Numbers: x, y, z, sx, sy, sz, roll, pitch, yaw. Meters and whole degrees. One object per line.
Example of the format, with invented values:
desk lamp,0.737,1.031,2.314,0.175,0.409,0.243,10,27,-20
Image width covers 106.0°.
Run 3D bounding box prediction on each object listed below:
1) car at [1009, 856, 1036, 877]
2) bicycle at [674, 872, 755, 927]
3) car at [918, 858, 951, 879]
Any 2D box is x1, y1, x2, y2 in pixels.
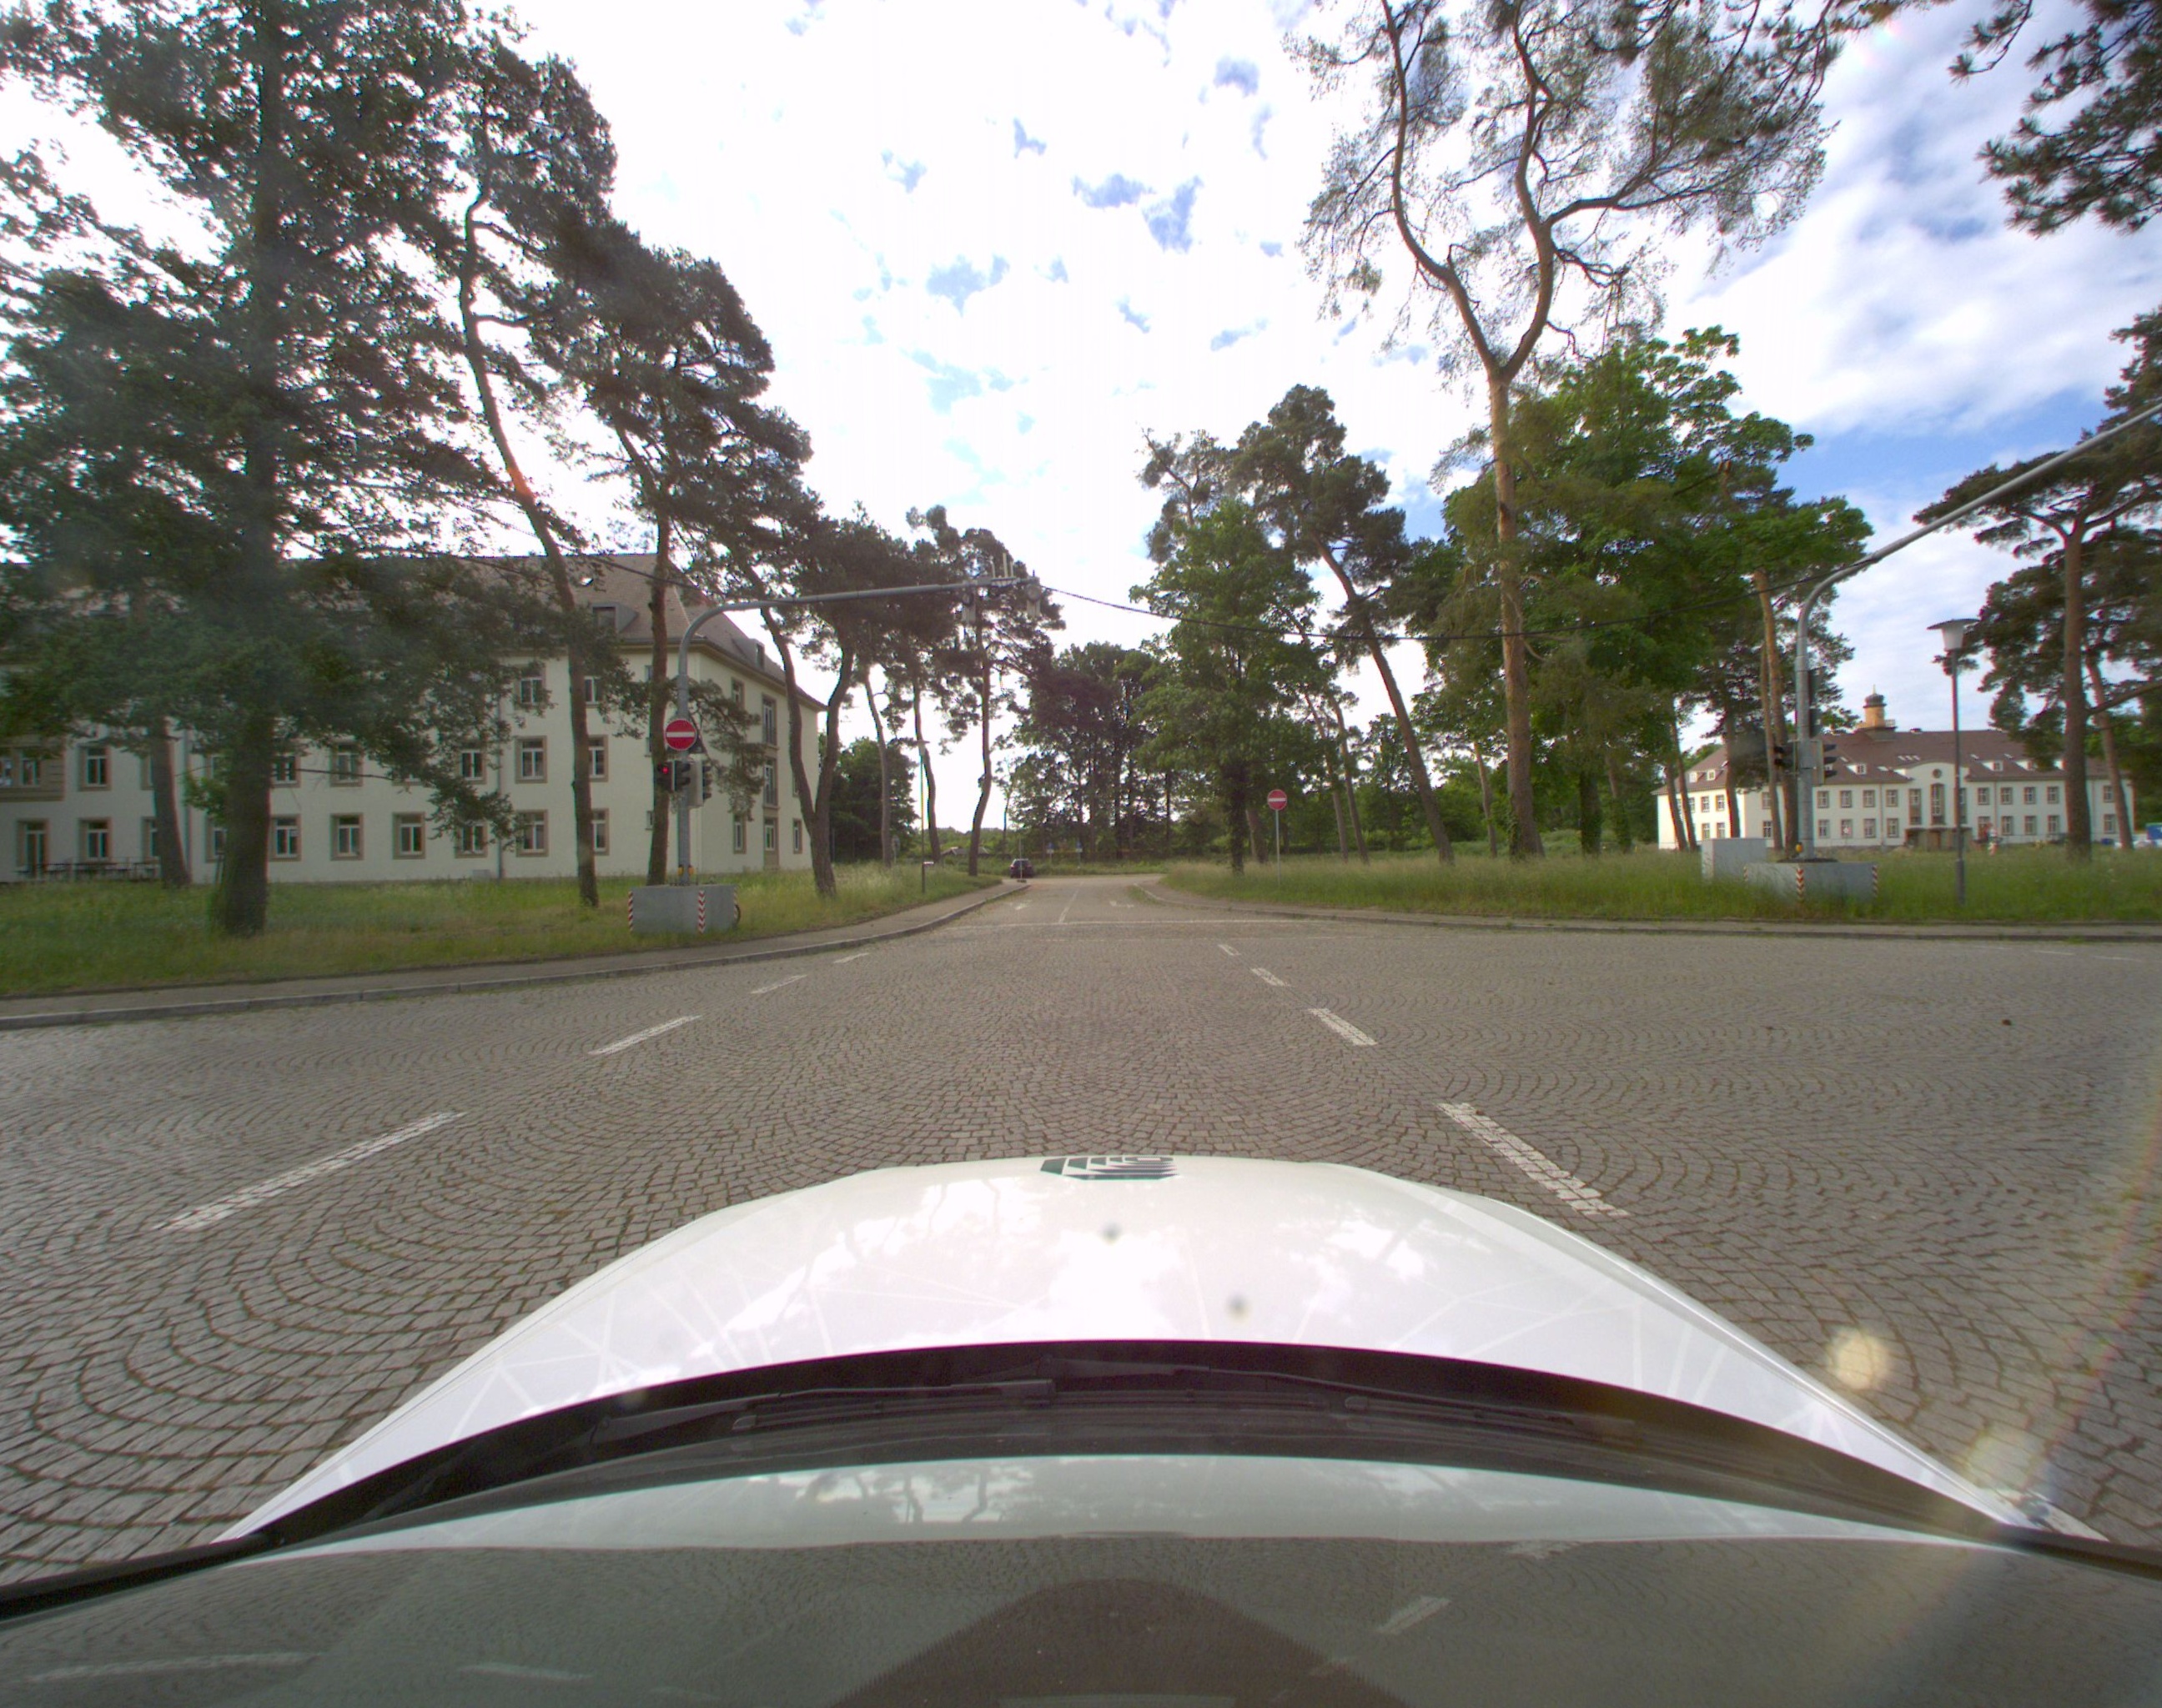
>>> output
car,-4.736,0.971,66.586,1.704,1.610,4.061,0,0,3
bicycle,-7.585,0.936,16.892,1.408,1.074,0.497,-1,2,-3
car,-12.075,1.142,67.288,1.703,1.610,4.063,0,0,5
